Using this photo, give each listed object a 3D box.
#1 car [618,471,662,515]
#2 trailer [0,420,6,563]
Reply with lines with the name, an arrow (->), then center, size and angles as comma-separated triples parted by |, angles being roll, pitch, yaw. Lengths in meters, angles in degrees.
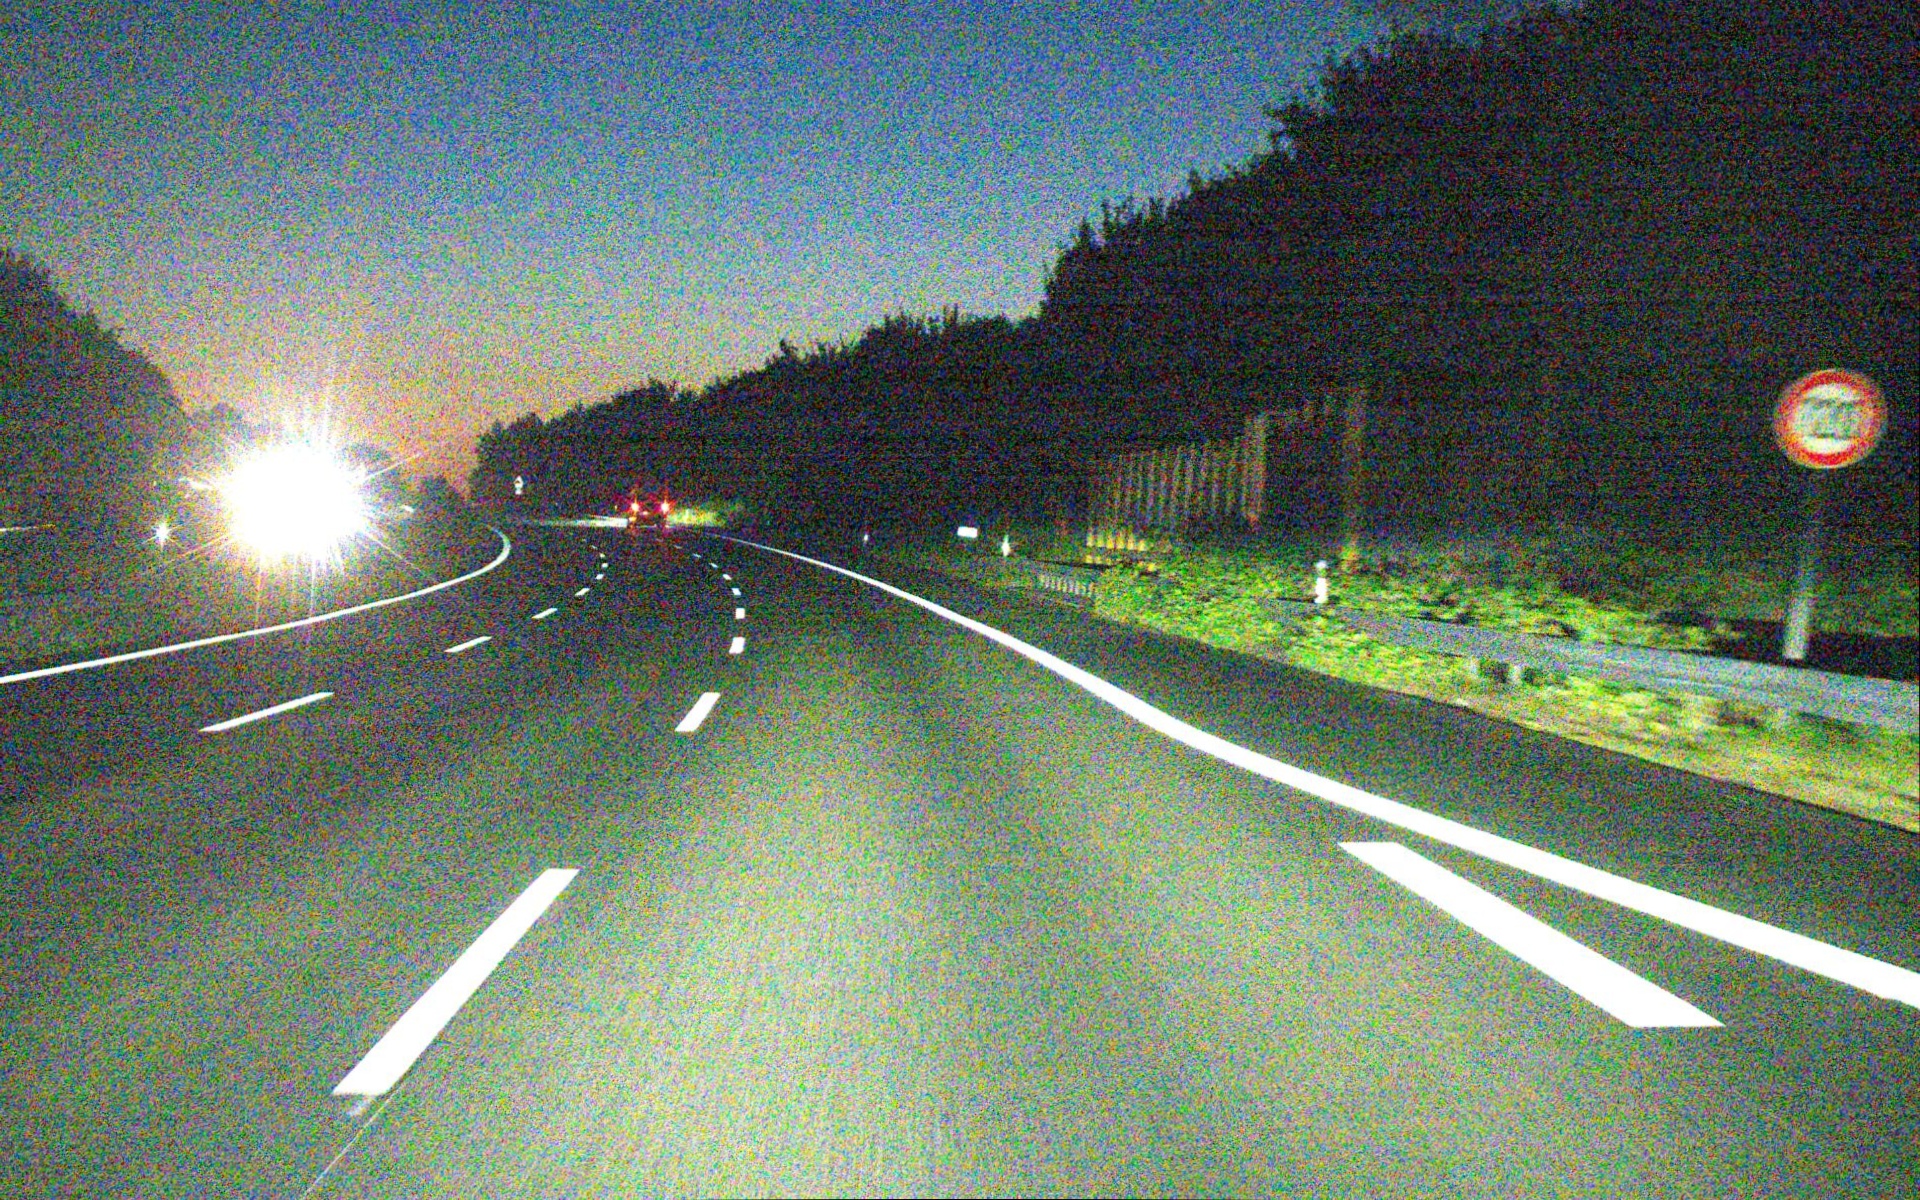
car -> -19.634, -6.533, 210.867 | 2.527, 2.544, 6.052 | 2, 1, -6
trailer -> -28.659, -2.934, 91.480 | 3.598, 4.076, 14.127 | 0, 1, -4
